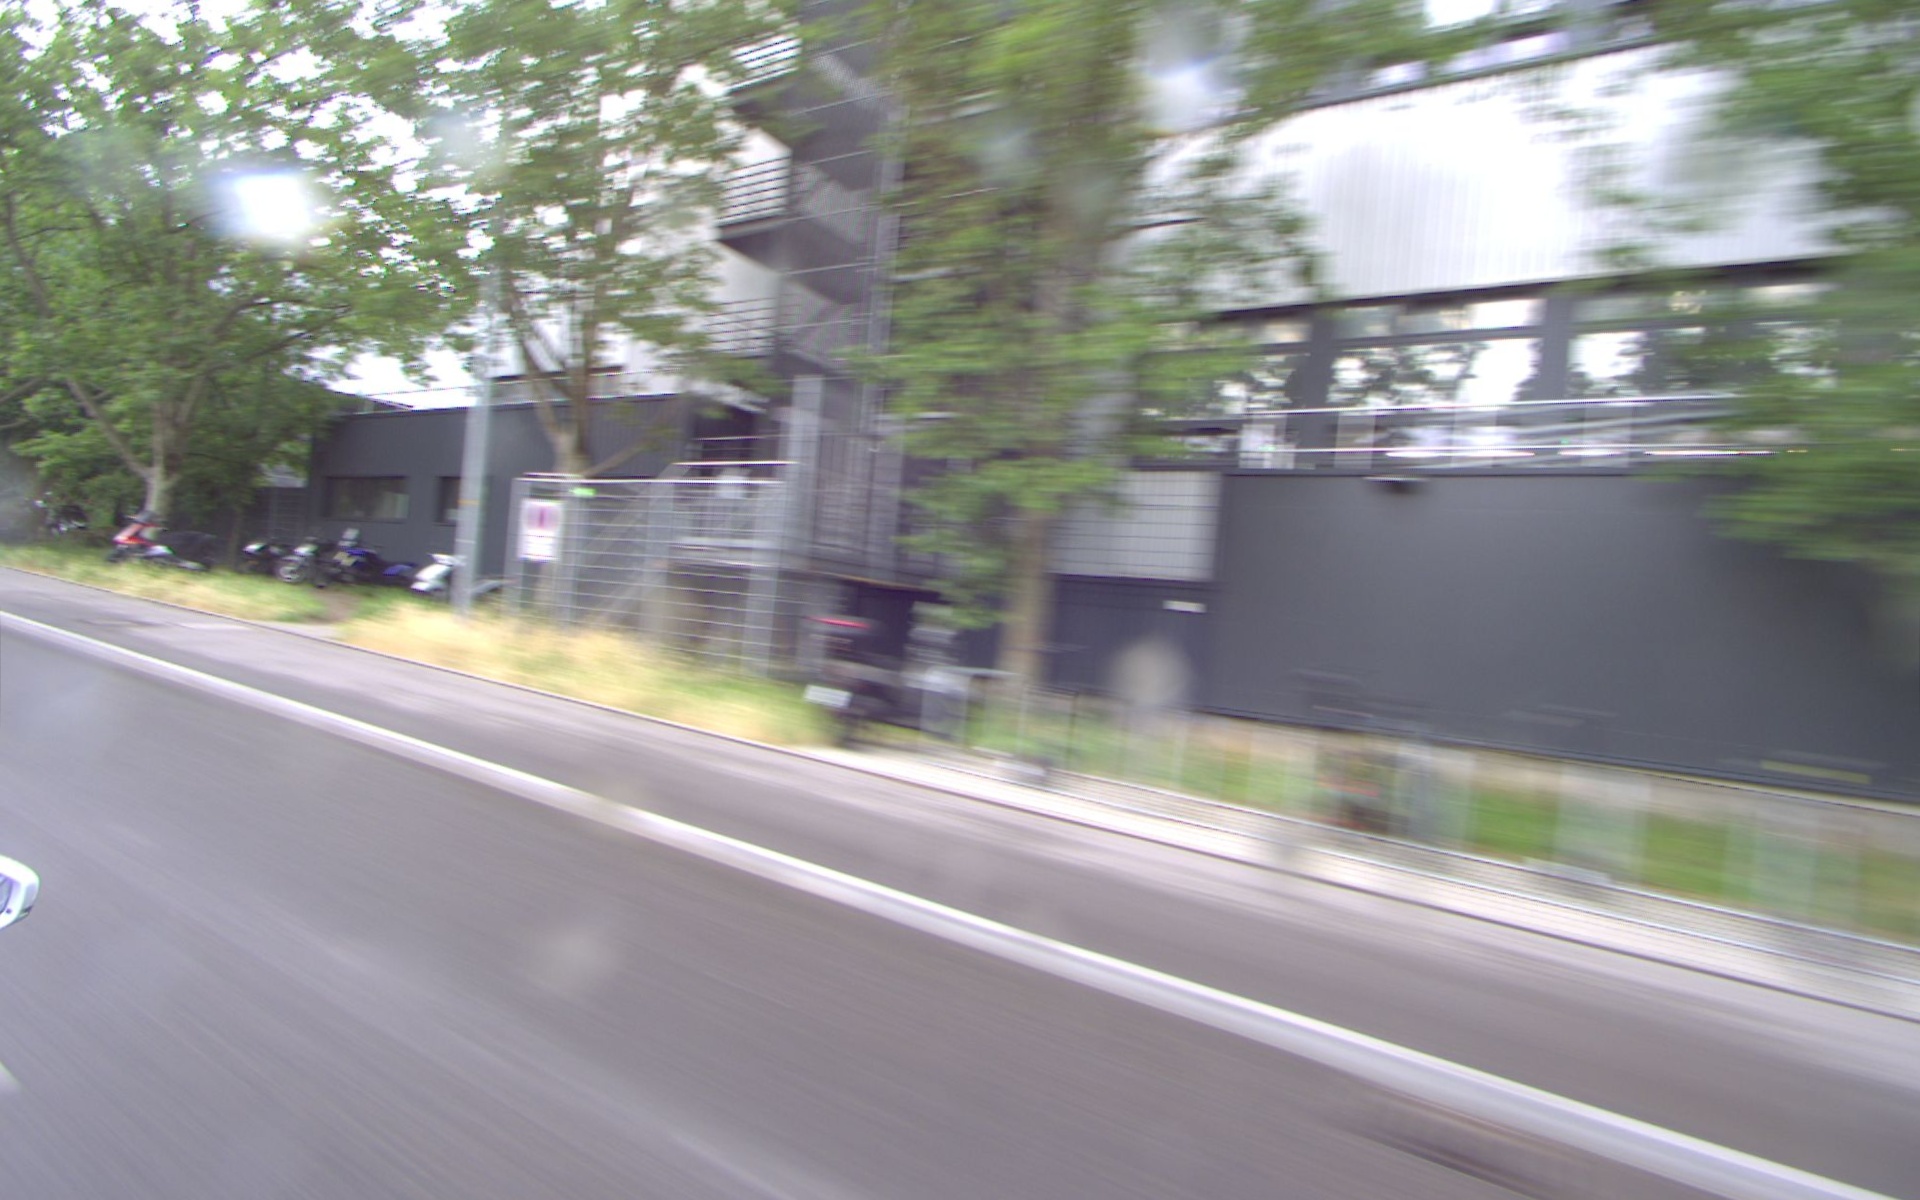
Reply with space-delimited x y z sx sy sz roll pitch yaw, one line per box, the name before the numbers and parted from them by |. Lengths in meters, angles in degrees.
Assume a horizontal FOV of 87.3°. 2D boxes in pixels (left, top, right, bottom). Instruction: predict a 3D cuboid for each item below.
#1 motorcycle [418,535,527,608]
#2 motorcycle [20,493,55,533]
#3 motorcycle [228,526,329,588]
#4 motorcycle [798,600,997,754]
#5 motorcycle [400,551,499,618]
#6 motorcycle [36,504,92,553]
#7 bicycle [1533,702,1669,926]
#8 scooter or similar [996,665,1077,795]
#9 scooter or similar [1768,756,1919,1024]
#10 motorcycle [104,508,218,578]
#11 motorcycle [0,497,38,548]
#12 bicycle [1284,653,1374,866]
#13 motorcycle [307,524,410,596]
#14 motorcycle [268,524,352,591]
motorcycle | -9.337 -0.544 19.276 1.861 1.159 0.478 7 -1 12
motorcycle | -31.850 -3.000 34.753 0.345 1.295 2.054 6 1 -30
motorcycle | -16.987 -1.054 25.115 0.484 1.272 1.915 6 -2 37
motorcycle | -0.532 0.731 9.479 0.435 1.289 2.003 7 1 43
motorcycle | -10.473 -0.303 20.677 0.552 1.159 1.637 6 -2 42
motorcycle | -27.160 -2.173 30.494 1.958 1.295 0.646 6 1 31
bicycle | 4.277 1.352 6.811 0.440 1.182 1.792 6 1 25
scooter or similar | 0.695 1.082 8.740 0.359 0.948 1.478 6 0 14
scooter or similar | 4.670 1.446 5.295 0.307 1.105 1.215 6 1 27
motorcycle | -16.179 -1.139 20.410 0.486 1.163 1.653 6 -2 39
motorcycle | -24.576 -2.023 25.383 0.512 1.206 1.854 7 0 16
bicycle | 2.802 1.119 7.704 0.439 1.365 1.863 6 0 19
motorcycle | -13.690 -0.881 22.977 0.497 1.380 1.934 6 -2 26
motorcycle | -15.473 -0.990 23.992 0.497 1.380 1.503 6 -2 26
